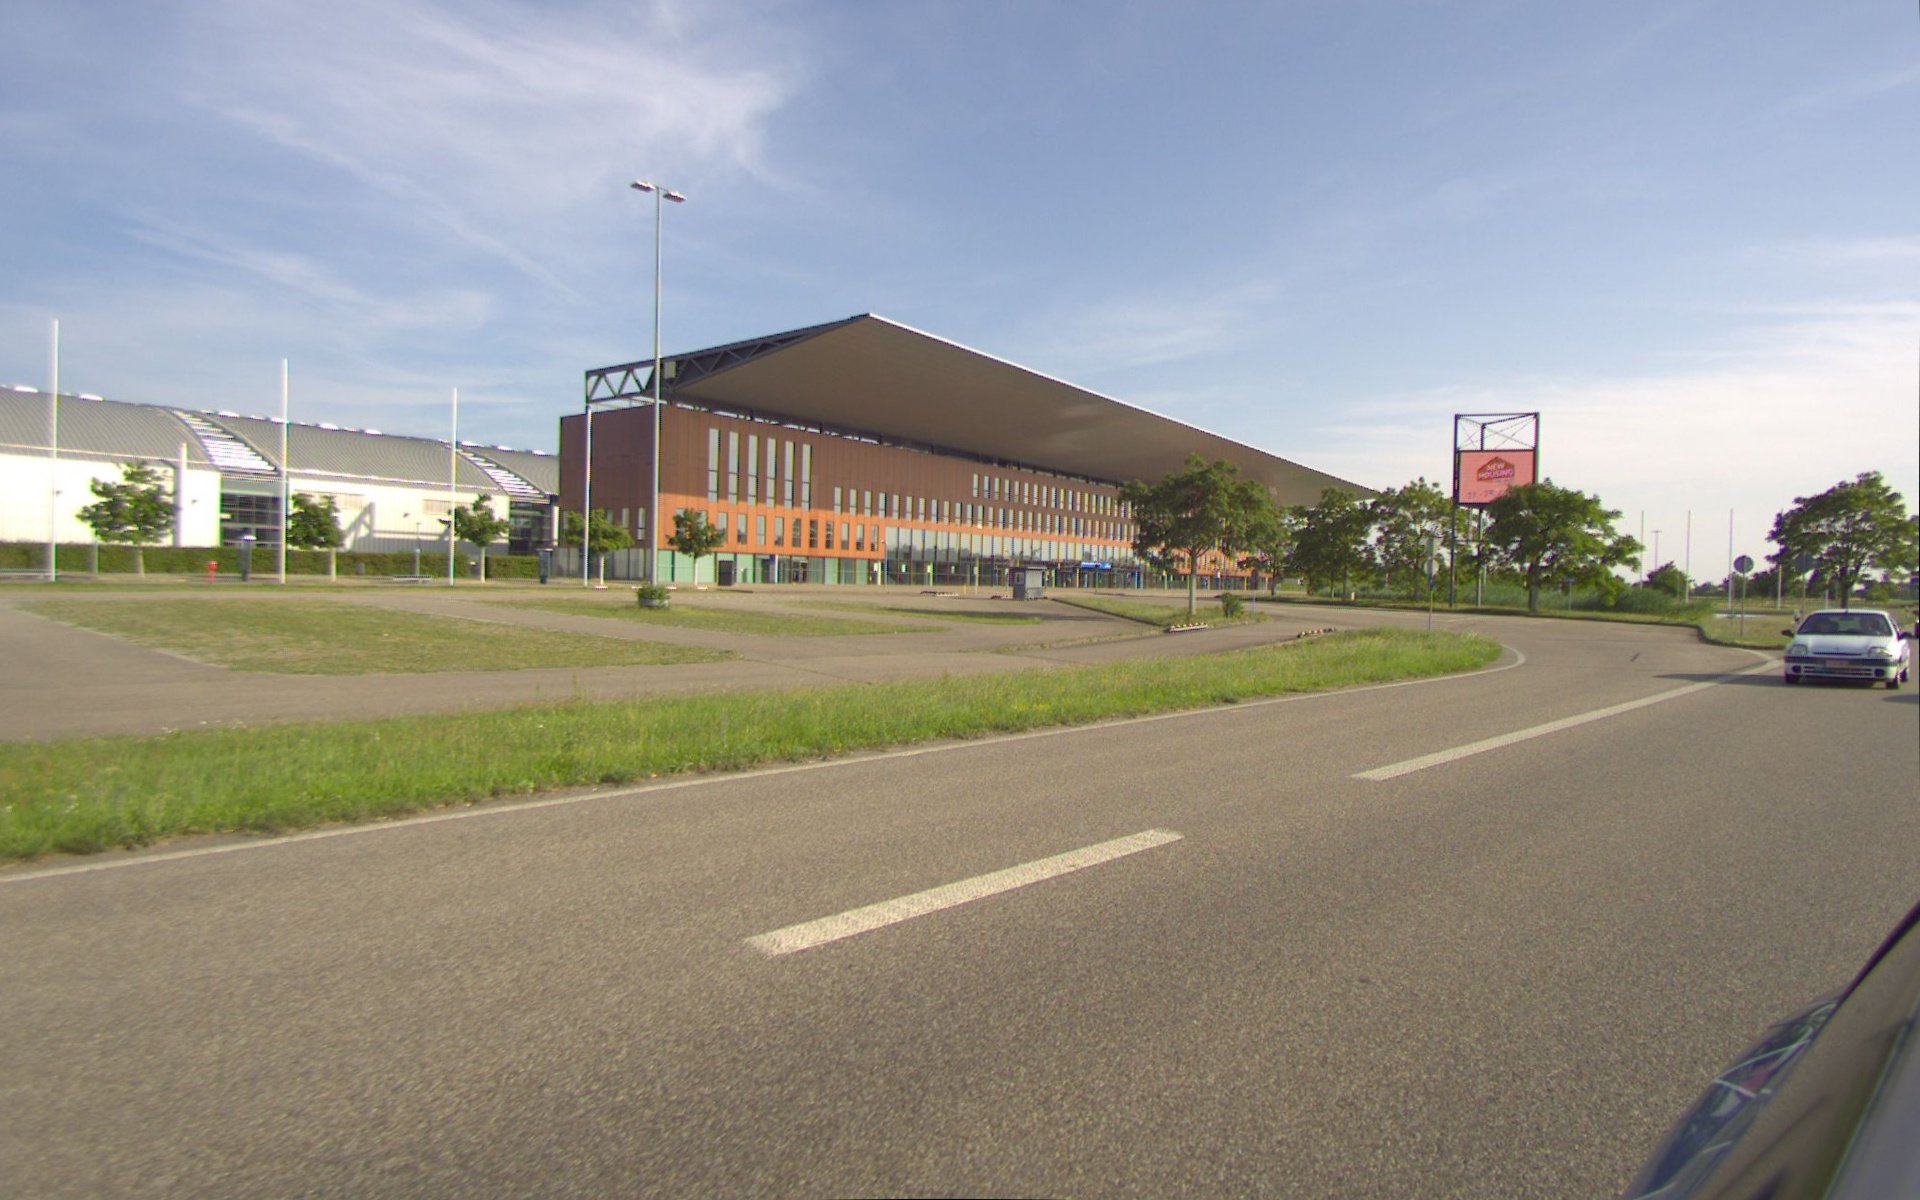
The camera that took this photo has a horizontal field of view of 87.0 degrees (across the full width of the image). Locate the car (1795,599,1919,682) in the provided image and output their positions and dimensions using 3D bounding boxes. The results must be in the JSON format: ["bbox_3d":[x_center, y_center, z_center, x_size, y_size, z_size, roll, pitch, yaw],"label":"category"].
[{"bbox_3d":[16.960,0.691,18.988,3.394,1.396,1.576,0,1,-43],"label":"car"}]
